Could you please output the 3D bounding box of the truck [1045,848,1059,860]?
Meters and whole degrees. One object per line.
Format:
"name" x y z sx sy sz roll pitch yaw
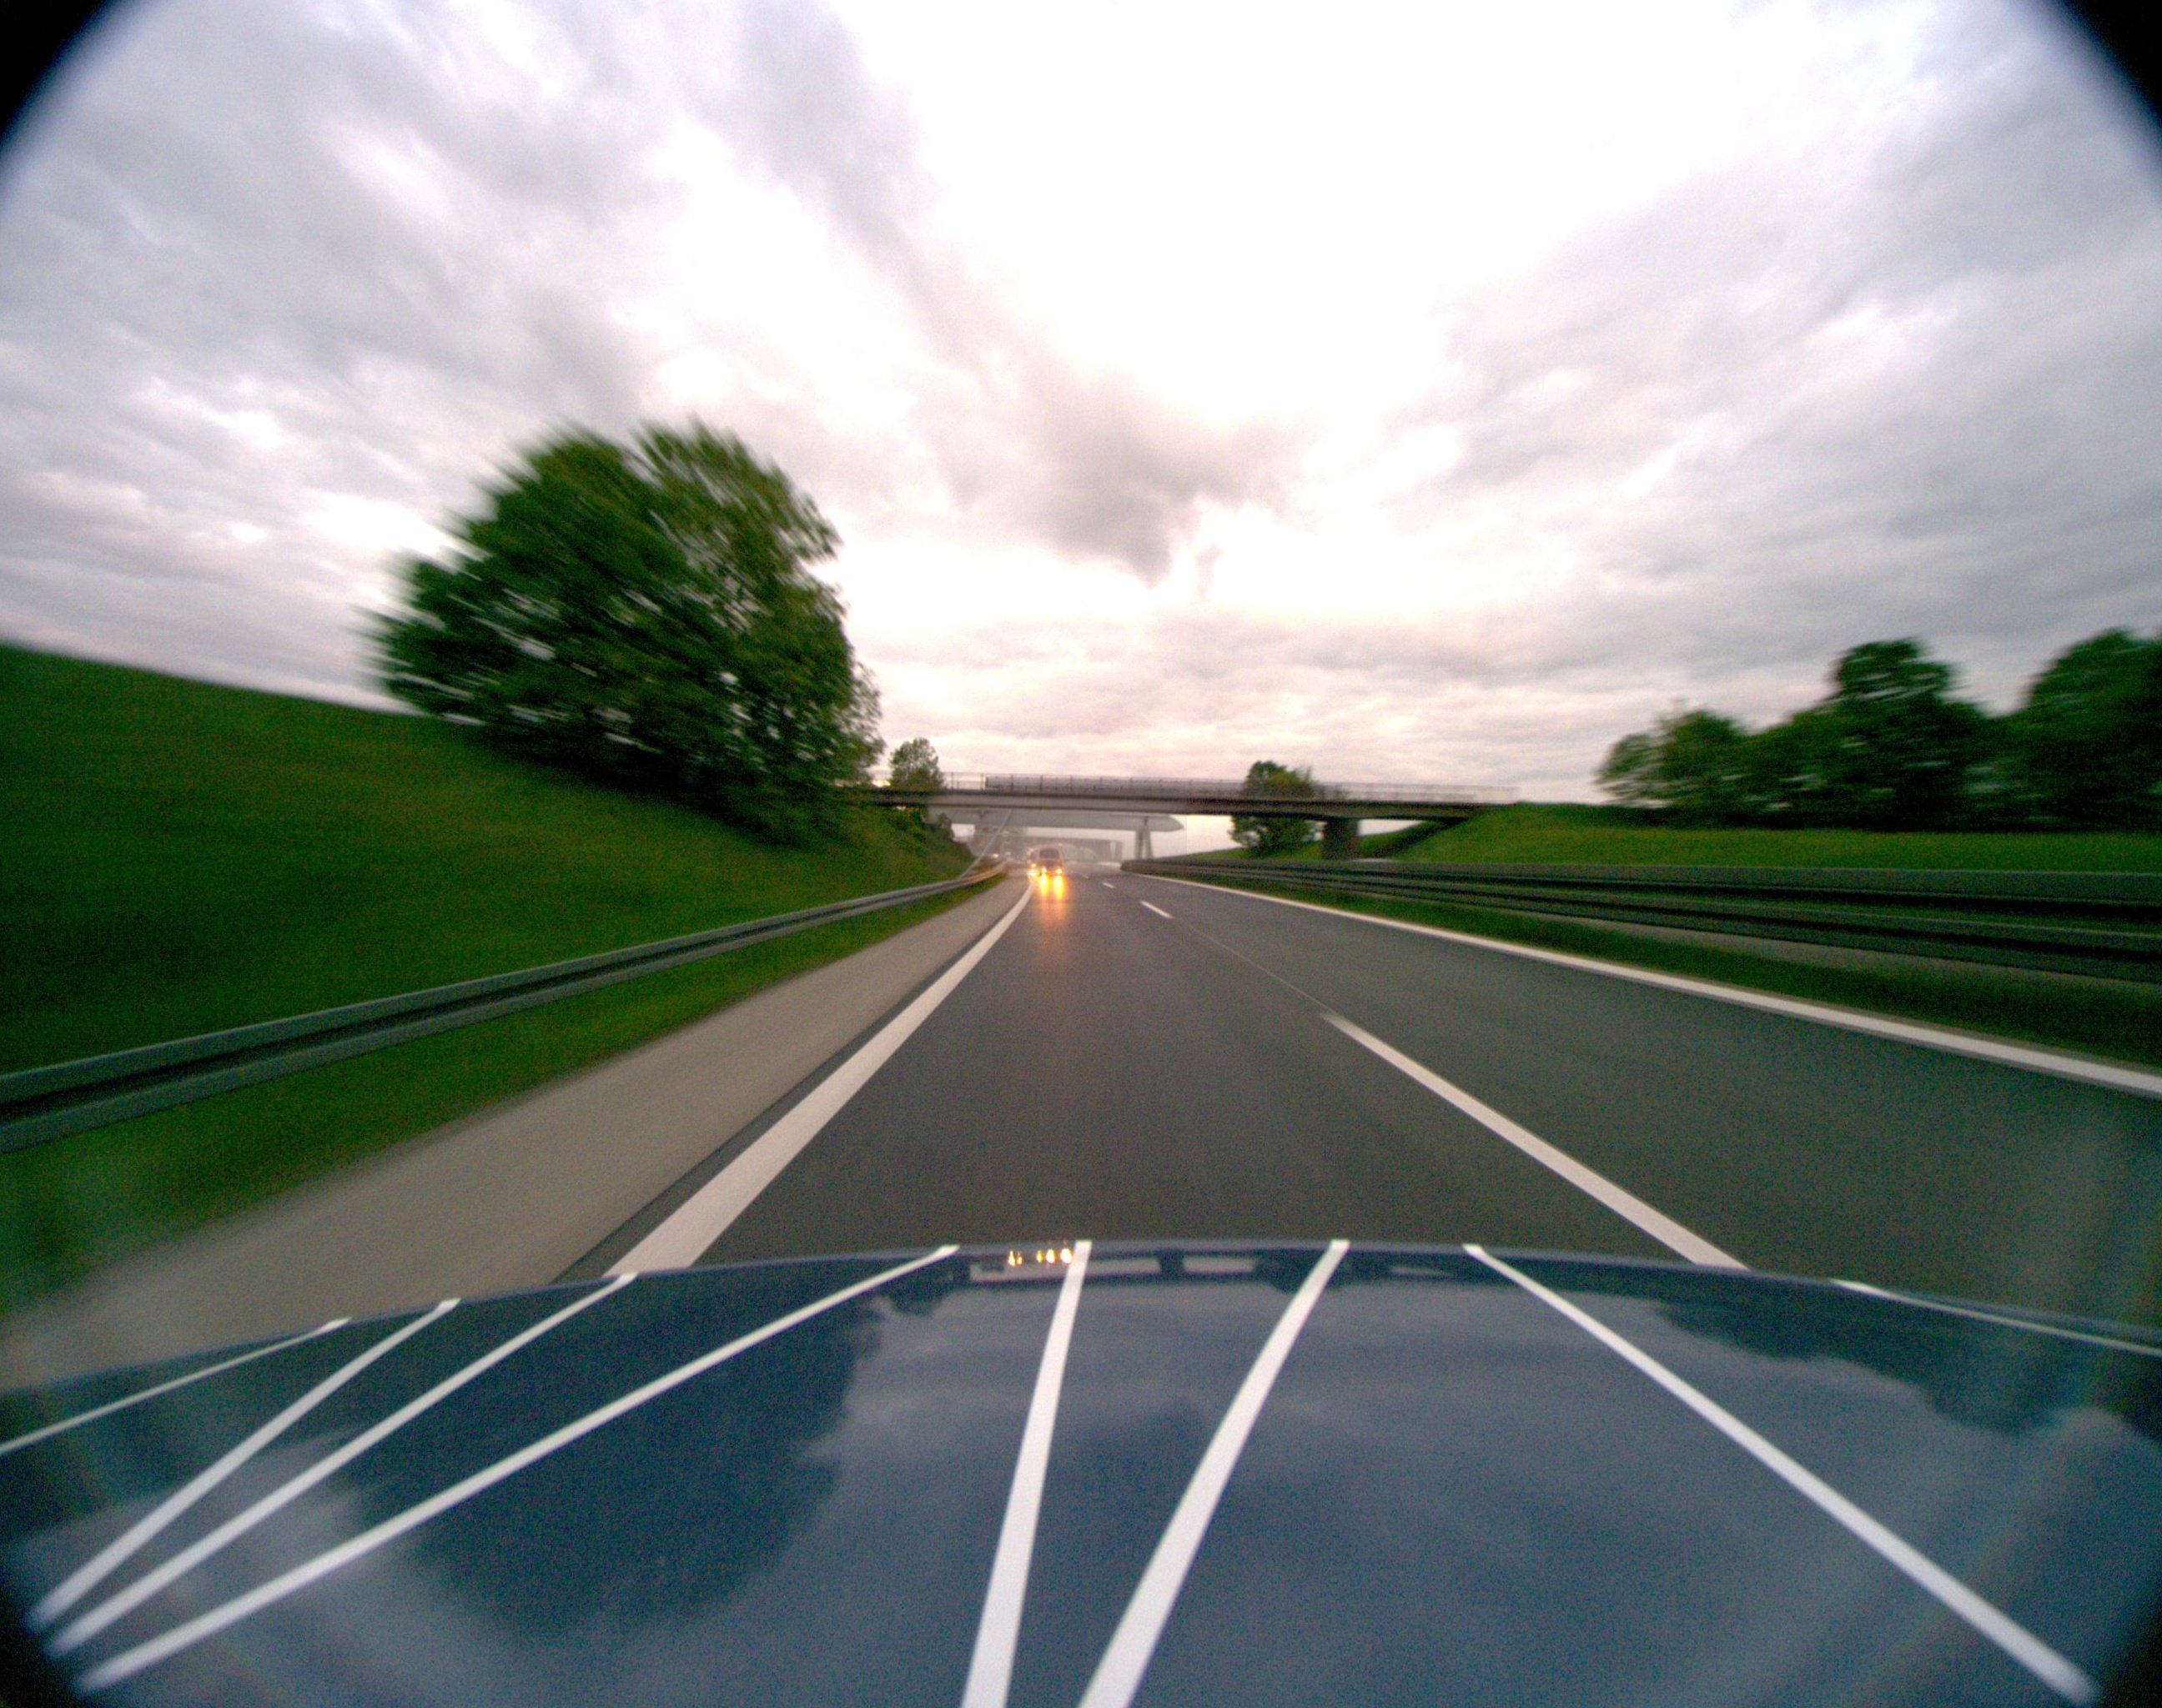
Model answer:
"truck" -7.567 0.003 197.077 2.621 3.091 6.662 -2 0 -11

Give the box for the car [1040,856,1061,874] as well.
"car" -2.694 0.940 66.778 1.682 1.504 3.998 0 0 -4

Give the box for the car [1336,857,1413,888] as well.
"car" 14.871 0.899 38.805 1.803 1.433 4.677 -1 0 -5

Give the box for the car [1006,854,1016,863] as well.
"car" -14.151 0.917 154.415 1.921 1.826 3.998 0 -1 -7
